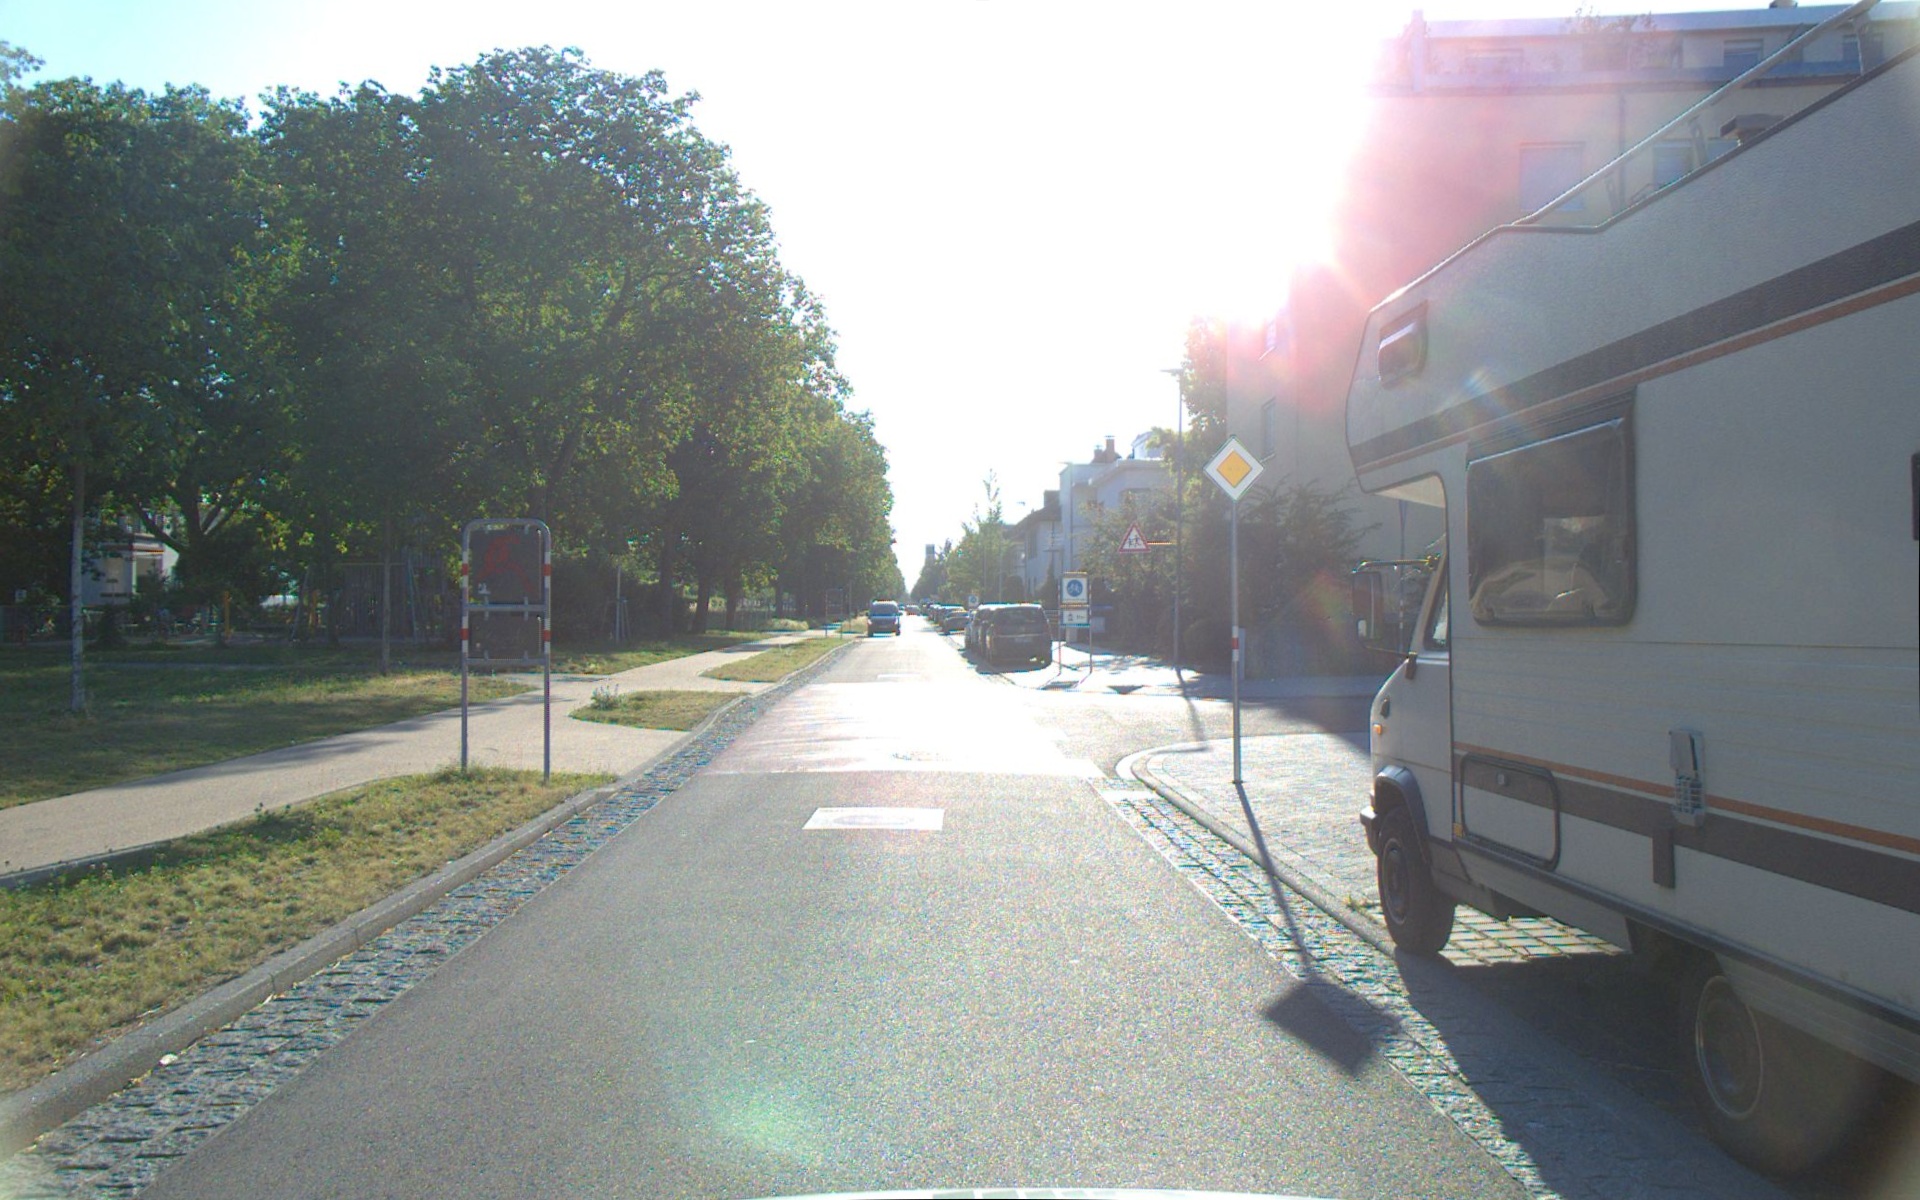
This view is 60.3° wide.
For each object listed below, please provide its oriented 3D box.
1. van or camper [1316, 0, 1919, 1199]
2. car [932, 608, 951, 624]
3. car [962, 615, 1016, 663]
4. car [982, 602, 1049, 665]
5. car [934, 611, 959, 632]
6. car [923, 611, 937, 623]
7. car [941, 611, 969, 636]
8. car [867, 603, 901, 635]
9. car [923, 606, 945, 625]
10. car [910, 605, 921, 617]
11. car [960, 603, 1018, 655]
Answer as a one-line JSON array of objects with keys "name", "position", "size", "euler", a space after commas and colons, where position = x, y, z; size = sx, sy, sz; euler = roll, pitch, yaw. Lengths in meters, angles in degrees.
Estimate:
[{"name": "van or camper", "position": [2.976, -0.022, 5.398], "size": [2.189, 2.955, 5.670], "euler": [0, -2, -2]}, {"name": "car", "position": [-1.711, 1.416, 148.006], "size": [1.594, 1.434, 4.247], "euler": [0, -1, -2]}, {"name": "car", "position": [1.105, 1.463, 62.733], "size": [1.952, 1.747, 4.000], "euler": [0, -1, 1]}, {"name": "car", "position": [1.519, 0.927, 46.743], "size": [1.594, 1.698, 4.247], "euler": [0, -1, -2]}, {"name": "car", "position": [-0.911, 1.449, 111.648], "size": [1.594, 1.434, 4.247], "euler": [0, -1, -2]}, {"name": "car", "position": [-3.663, 2.019, 199.719], "size": [1.594, 1.434, 4.247], "euler": [0, -1, -2]}, {"name": "car", "position": [-0.320, 1.419, 100.297], "size": [1.594, 1.434, 4.247], "euler": [0, -1, -2]}, {"name": "car", "position": [-4.083, 1.046, 89.764], "size": [1.789, 1.698, 4.247], "euler": [0, -1, -2]}, {"name": "car", "position": [-2.080, 1.233, 131.614], "size": [1.594, 1.434, 4.247], "euler": [0, -1, -2]}, {"name": "car", "position": [-6.522, 1.636, 241.600], "size": [1.594, 1.698, 4.247], "euler": [0, -1, -2]}, {"name": "car", "position": [1.005, 1.005, 57.758], "size": [1.952, 1.747, 4.000], "euler": [0, -1, 1]}]
